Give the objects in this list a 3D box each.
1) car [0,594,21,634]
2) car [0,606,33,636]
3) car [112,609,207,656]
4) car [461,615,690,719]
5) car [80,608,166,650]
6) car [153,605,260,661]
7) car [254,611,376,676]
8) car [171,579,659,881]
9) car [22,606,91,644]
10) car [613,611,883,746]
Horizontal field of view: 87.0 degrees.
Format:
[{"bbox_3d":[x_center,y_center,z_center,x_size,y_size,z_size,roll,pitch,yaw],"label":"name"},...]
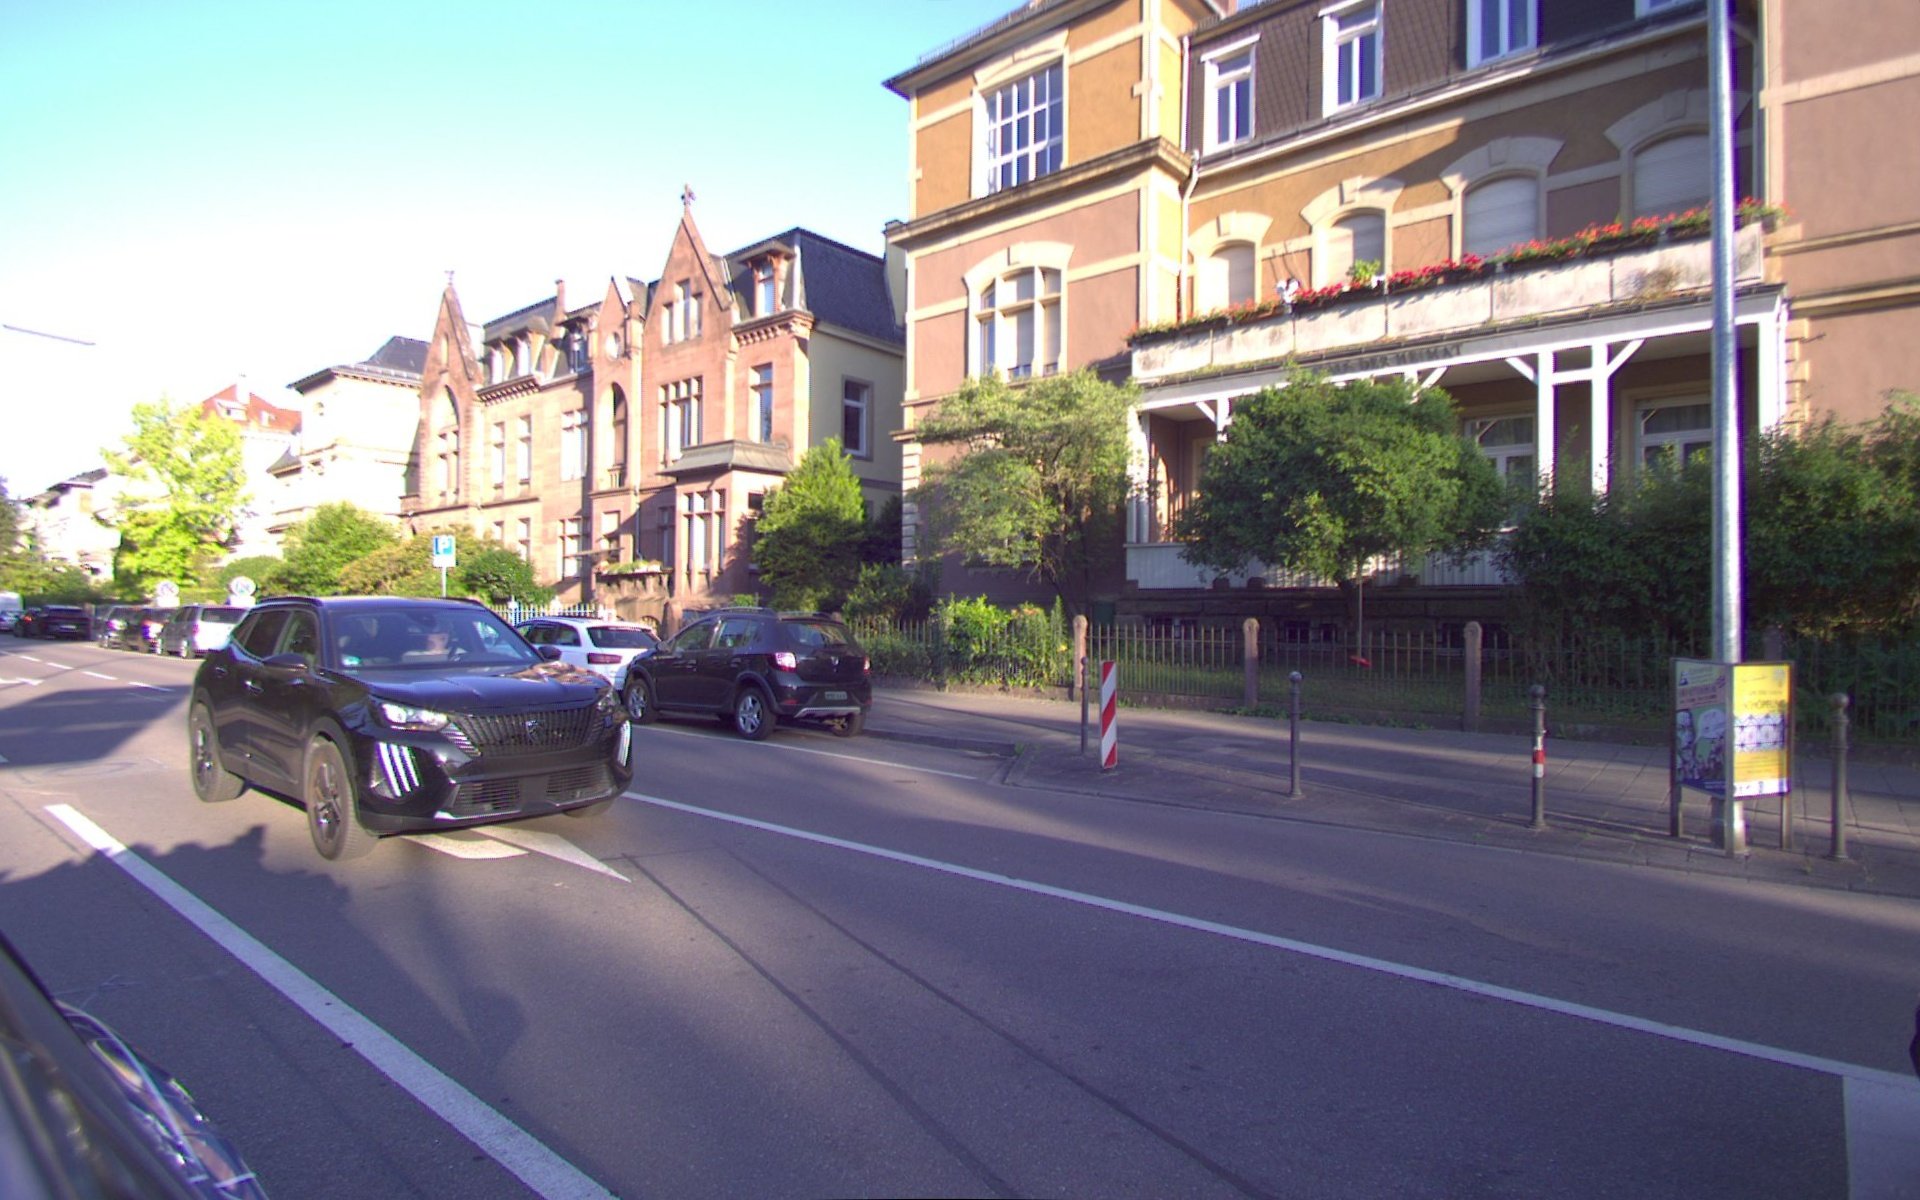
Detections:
[{"bbox_3d":[-59.537,0.858,61.974,5.874,2.387,2.203,-1,-2,39],"label":"car"},{"bbox_3d":[-54.199,1.194,57.586,3.851,1.617,1.693,-1,-2,41],"label":"car"},{"bbox_3d":[-26.756,1.069,33.805,3.719,1.461,1.694,-1,-2,39],"label":"car"},{"bbox_3d":[-6.305,1.011,16.333,4.432,1.454,1.587,-1,-4,43],"label":"car"},{"bbox_3d":[-30.466,1.049,36.820,3.719,1.461,1.694,-1,-2,39],"label":"car"},{"bbox_3d":[-22.848,0.981,30.636,3.749,1.601,1.694,-1,-2,39],"label":"car"},{"bbox_3d":[-15.735,1.024,24.645,3.566,1.456,1.610,-1,-2,42],"label":"car"},{"bbox_3d":[-3.986,0.696,7.123,3.997,1.547,1.661,-1,-2,40],"label":"car"},{"bbox_3d":[-41.144,1.133,46.063,3.721,1.617,1.856,-1,-2,41],"label":"car"},{"bbox_3d":[-2.910,0.968,13.507,3.722,1.546,1.610,-1,-4,42],"label":"car"}]
